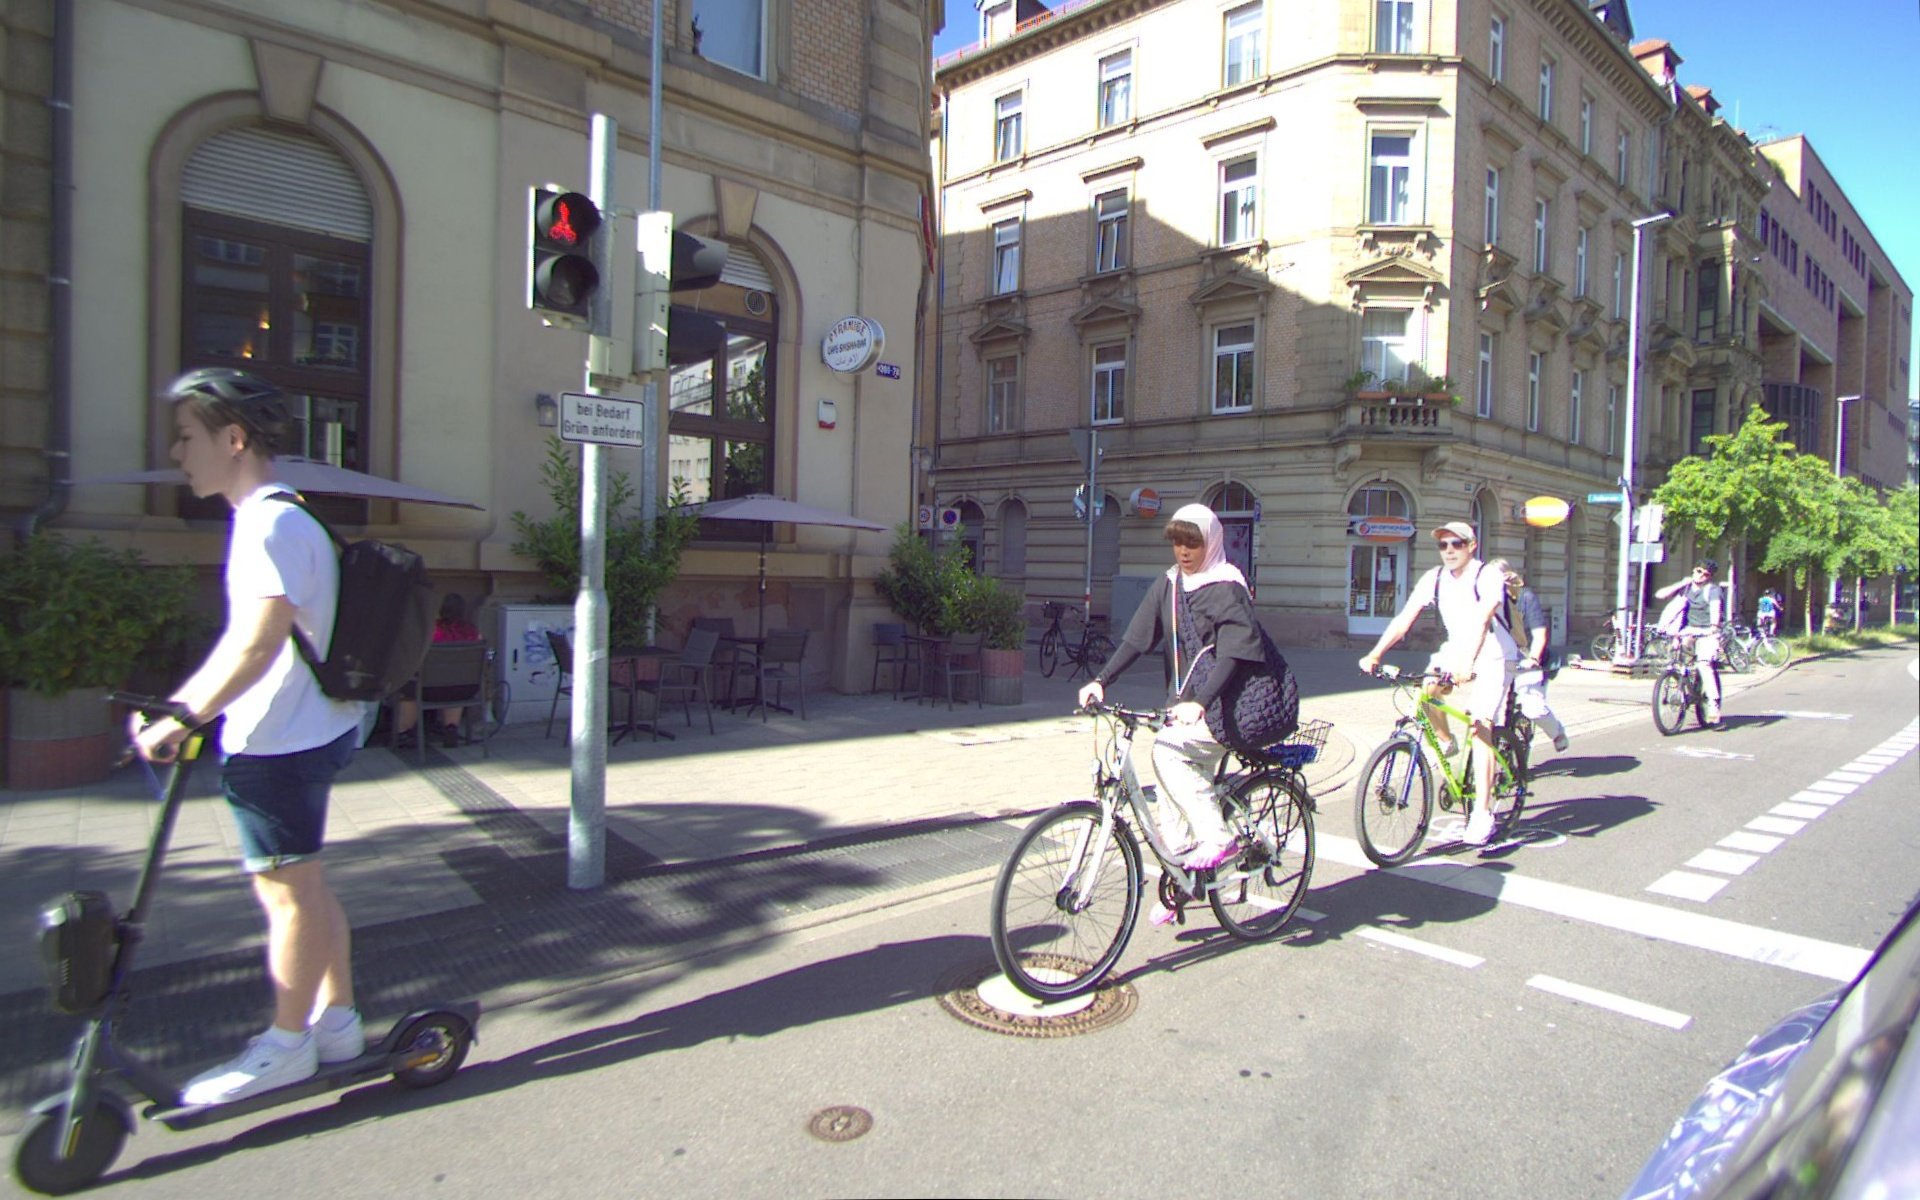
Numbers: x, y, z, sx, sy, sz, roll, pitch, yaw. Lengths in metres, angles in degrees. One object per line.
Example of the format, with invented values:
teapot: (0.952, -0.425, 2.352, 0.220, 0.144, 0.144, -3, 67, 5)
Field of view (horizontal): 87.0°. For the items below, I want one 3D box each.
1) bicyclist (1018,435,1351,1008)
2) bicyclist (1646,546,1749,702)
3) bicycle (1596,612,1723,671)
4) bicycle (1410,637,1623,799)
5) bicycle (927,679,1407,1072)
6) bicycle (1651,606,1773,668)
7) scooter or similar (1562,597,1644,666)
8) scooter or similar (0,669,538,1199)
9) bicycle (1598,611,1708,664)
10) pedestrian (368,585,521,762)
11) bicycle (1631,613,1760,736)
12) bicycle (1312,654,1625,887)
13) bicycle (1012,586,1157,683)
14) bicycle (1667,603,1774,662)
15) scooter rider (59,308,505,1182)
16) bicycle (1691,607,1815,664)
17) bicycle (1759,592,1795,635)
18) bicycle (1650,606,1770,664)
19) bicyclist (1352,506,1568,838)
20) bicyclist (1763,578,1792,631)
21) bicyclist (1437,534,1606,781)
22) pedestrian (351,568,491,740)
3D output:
bicyclist: (0.867, 0.385, 3.871, 1.071, 1.840, 0.725, 0, 0, -38)
bicyclist: (8.083, 0.246, 11.088, 0.879, 1.625, 0.724, 0, 0, -41)
bicycle: (13.451, 0.778, 19.530, 0.580, 0.922, 1.911, 0, 4, -31)
bicycle: (4.326, 0.831, 7.807, 1.918, 1.019, 0.829, 0, 0, -41)
bicycle: (0.862, 0.882, 3.870, 1.916, 1.019, 0.725, 0, 0, -38)
bicycle: (15.331, 0.729, 20.675, 0.598, 1.061, 1.873, -1, 5, -45)
scooter or similar: (12.011, 0.569, 18.928, 0.479, 1.212, 1.197, 0, 2, -44)
scooter or similar: (-1.835, 0.821, 2.722, 0.645, 1.173, 1.132, 1, 0, 44)
bicycle: (13.756, 0.726, 20.132, 0.488, 0.937, 1.717, 0, 2, -40)
pedestrian: (-3.822, 0.496, 7.499, 0.866, 1.197, 0.719, -1, 2, -41)
bicycle: (8.078, 0.760, 11.089, 1.918, 1.209, 0.724, 0, 0, -41)
bicycle: (2.895, 0.862, 5.694, 1.914, 1.019, 0.726, 0, 0, -34)
bicycle: (1.787, 0.475, 14.932, 0.801, 1.247, 2.221, 4, 0, -34)
bicycle: (17.040, 0.699, 22.699, 1.115, 1.074, 1.677, -1, 6, -42)
scooter rider: (-1.817, 0.308, 2.740, 0.661, 1.890, 0.883, 1, 0, 44)
bicycle: (18.278, 0.782, 23.368, 0.833, 1.054, 2.062, -1, 5, -41)
bicycle: (25.841, 0.410, 32.007, 2.062, 1.268, 0.578, -1, 2, -43)
bicycle: (16.224, 0.729, 21.920, 1.013, 1.043, 1.901, -1, 5, -43)
bicyclist: (2.803, 0.360, 5.672, 0.958, 1.677, 0.701, 0, 0, -35)
bicyclist: (25.806, 0.118, 31.952, 0.781, 1.637, 0.578, -1, 2, -43)
bicyclist: (4.335, 0.401, 7.811, 0.971, 1.748, 0.853, 0, 0, -41)
pedestrian: (-4.399, 0.399, 8.255, 0.872, 1.298, 0.726, -1, 2, -41)
